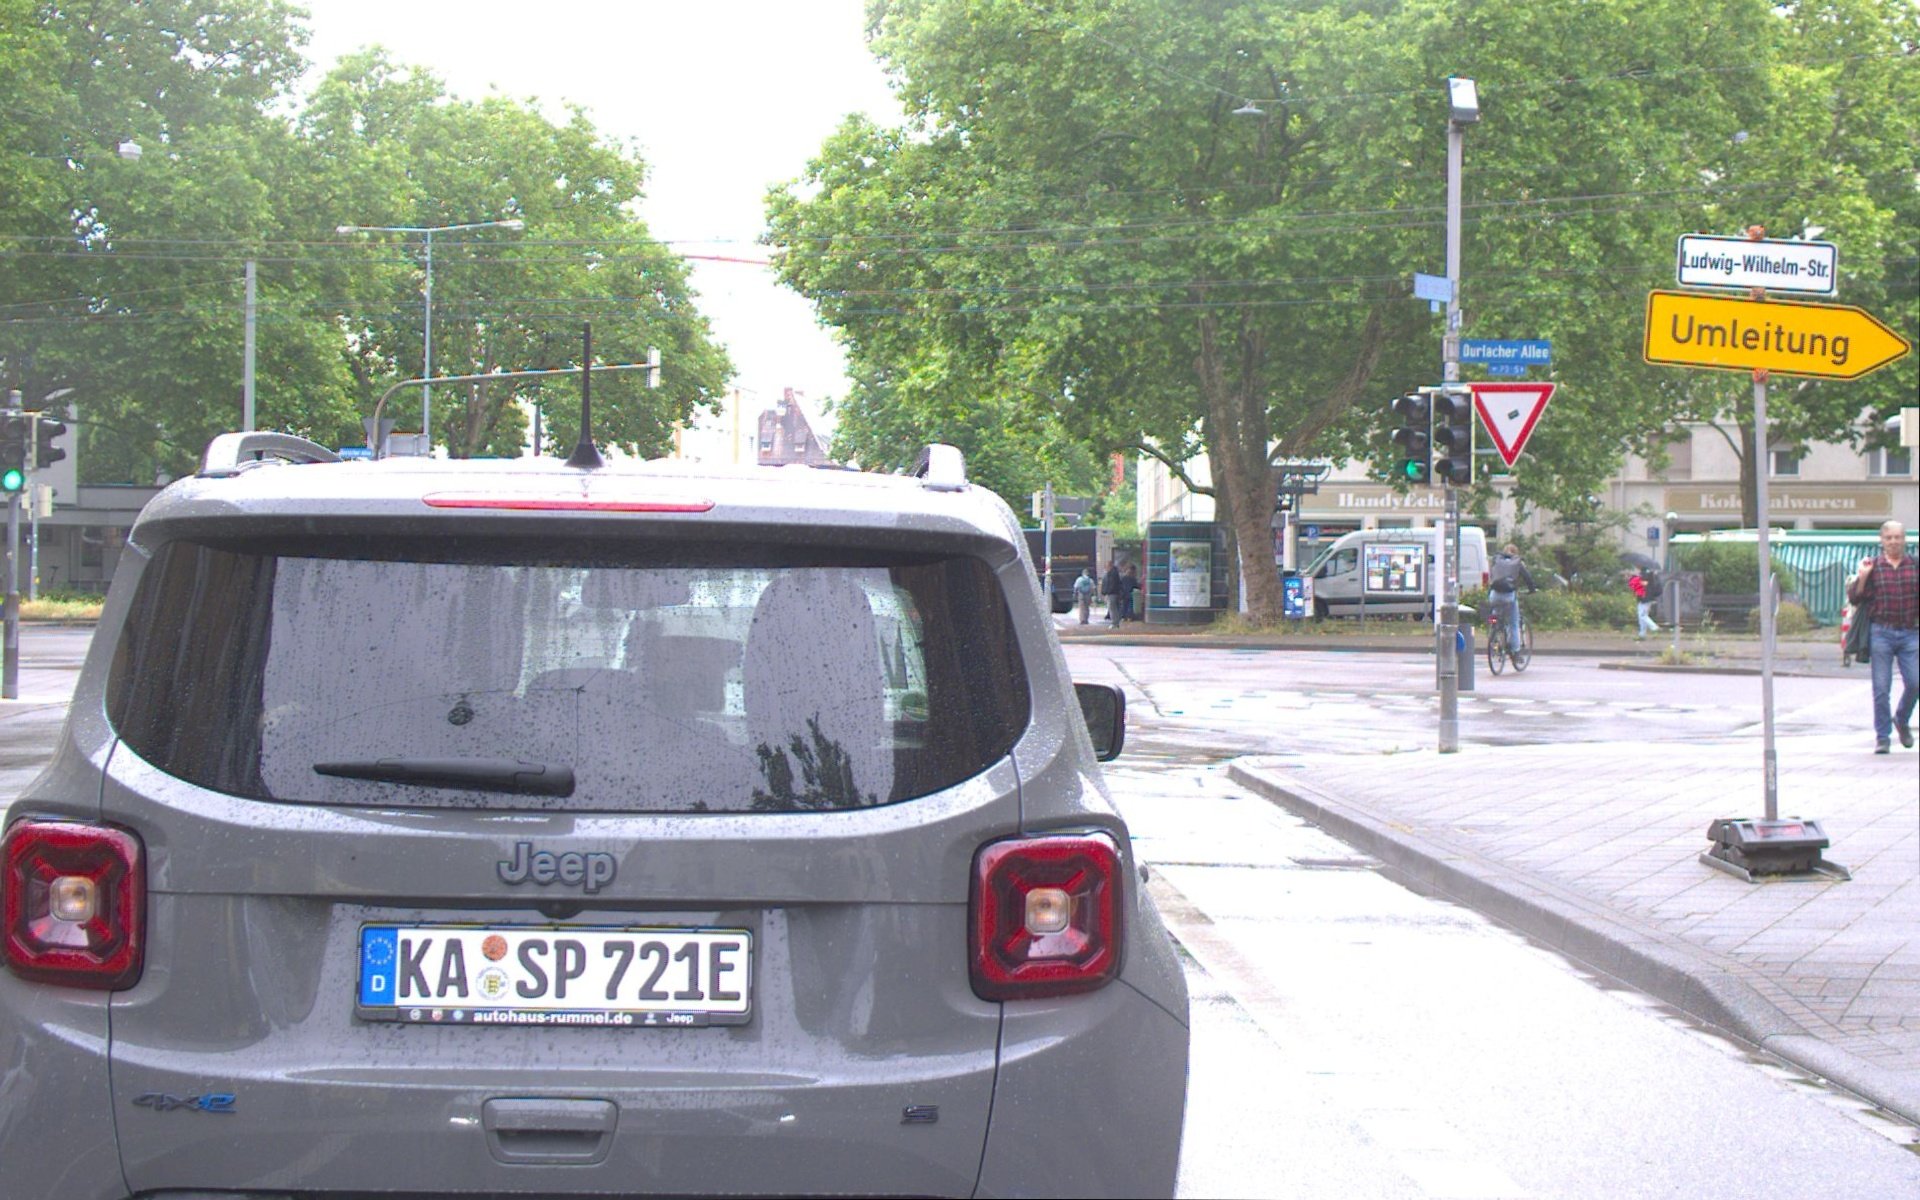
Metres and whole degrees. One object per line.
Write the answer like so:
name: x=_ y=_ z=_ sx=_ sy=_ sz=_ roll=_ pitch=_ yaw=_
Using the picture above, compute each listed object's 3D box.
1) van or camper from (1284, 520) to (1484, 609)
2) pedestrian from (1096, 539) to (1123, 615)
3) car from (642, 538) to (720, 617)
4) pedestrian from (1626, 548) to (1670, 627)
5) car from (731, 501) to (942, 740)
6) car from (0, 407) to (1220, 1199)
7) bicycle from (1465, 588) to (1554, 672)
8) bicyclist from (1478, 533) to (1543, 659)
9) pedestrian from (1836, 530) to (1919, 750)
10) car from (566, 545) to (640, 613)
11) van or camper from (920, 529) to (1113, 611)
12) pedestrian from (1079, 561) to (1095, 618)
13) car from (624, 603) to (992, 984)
van or camper: x=11.585 y=-0.988 z=94.199 sx=5.260 sy=2.307 sz=2.090 roll=1 pitch=1 yaw=3
pedestrian: x=3.994 y=-0.616 z=91.901 sx=0.651 sy=2.007 sz=0.482 roll=1 pitch=1 yaw=12
car: x=-6.339 y=-0.516 z=78.041 sx=1.721 sy=1.733 sz=3.730 roll=0 pitch=1 yaw=-5
pedestrian: x=13.790 y=-0.248 z=68.901 sx=0.674 sy=1.548 sz=0.760 roll=1 pitch=-1 yaw=27
car: x=-1.082 y=0.147 z=31.069 sx=1.770 sy=2.007 sz=4.000 roll=0 pitch=1 yaw=-1
car: x=-0.616 y=0.572 z=6.307 sx=1.775 sy=1.681 sz=3.848 roll=0 pitch=1 yaw=-2
bicycle: x=7.176 y=0.374 z=44.772 sx=0.692 sy=1.018 sz=2.655 roll=0 pitch=1 yaw=19
bicyclist: x=7.165 y=-0.057 z=44.723 sx=0.687 sy=1.612 sz=0.883 roll=0 pitch=1 yaw=19
pedestrian: x=7.500 y=0.313 z=27.839 sx=0.786 sy=1.753 sz=0.945 roll=0 pitch=1 yaw=14
car: x=-8.995 y=-0.533 z=86.879 sx=1.813 sy=1.665 sz=3.921 roll=0 pitch=1 yaw=-5
van or camper: x=2.048 y=-1.103 z=124.424 sx=6.536 sy=2.902 sz=2.491 roll=1 pitch=1 yaw=26
pedestrian: x=3.796 y=-0.307 z=102.622 sx=0.458 sy=1.698 sz=0.424 roll=0 pitch=1 yaw=0
car: x=-0.599 y=0.725 z=14.490 sx=1.363 sy=1.371 sz=3.312 roll=0 pitch=1 yaw=-1
